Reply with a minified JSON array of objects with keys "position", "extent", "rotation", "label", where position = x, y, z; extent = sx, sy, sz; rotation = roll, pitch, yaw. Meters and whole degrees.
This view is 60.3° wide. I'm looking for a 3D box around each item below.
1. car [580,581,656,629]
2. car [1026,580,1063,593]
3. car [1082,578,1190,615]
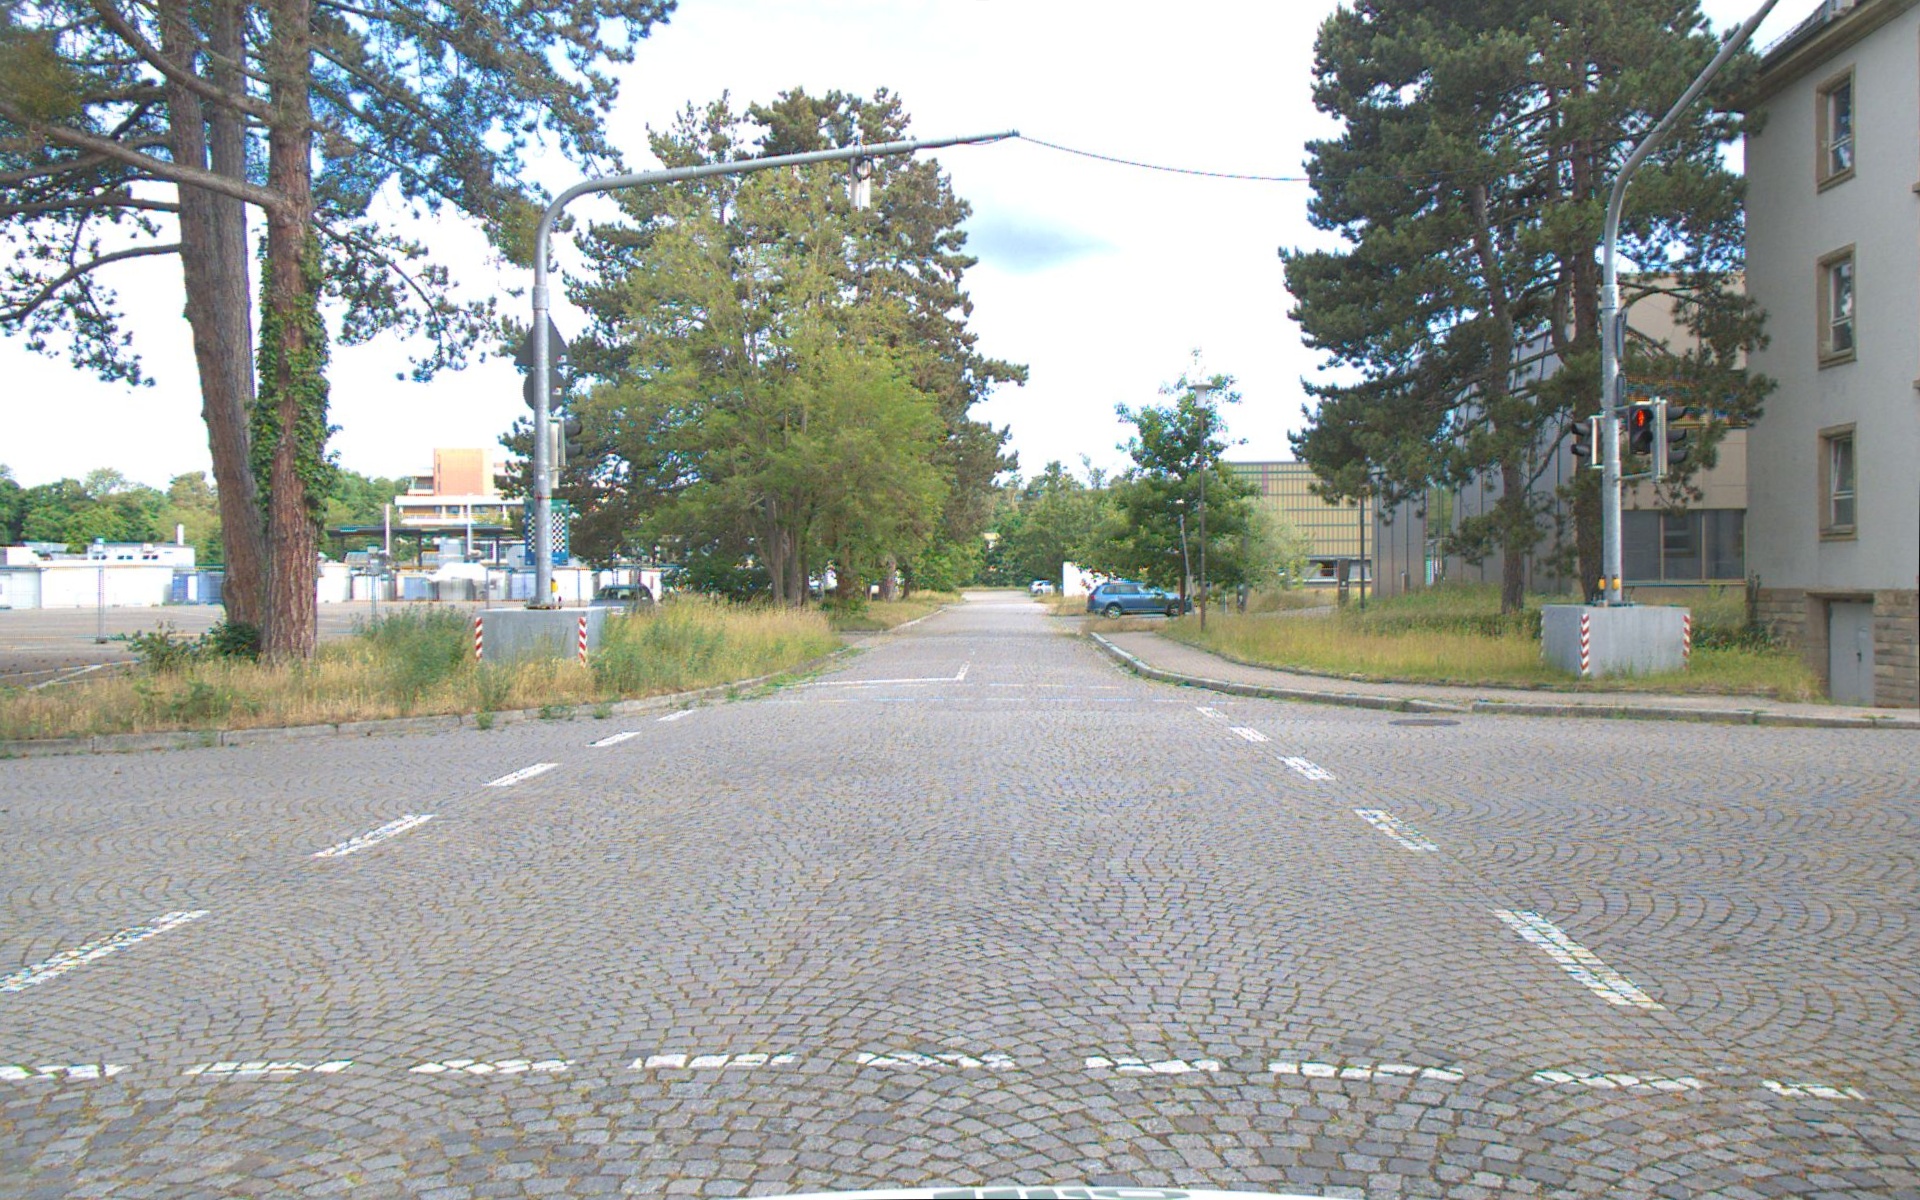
[{"position":[-11.228,0.136,54.528],"extent":[1.579,1.513,4.001],"rotation":[-1,1,2],"label":"car"},{"position":[9.497,-1.553,186.065],"extent":[3.908,1.422,1.998],"rotation":[-1,1,-4],"label":"car"},{"position":[7.300,-0.148,68.980],"extent":[4.255,1.447,2.000],"rotation":[-1,1,-1],"label":"car"}]
